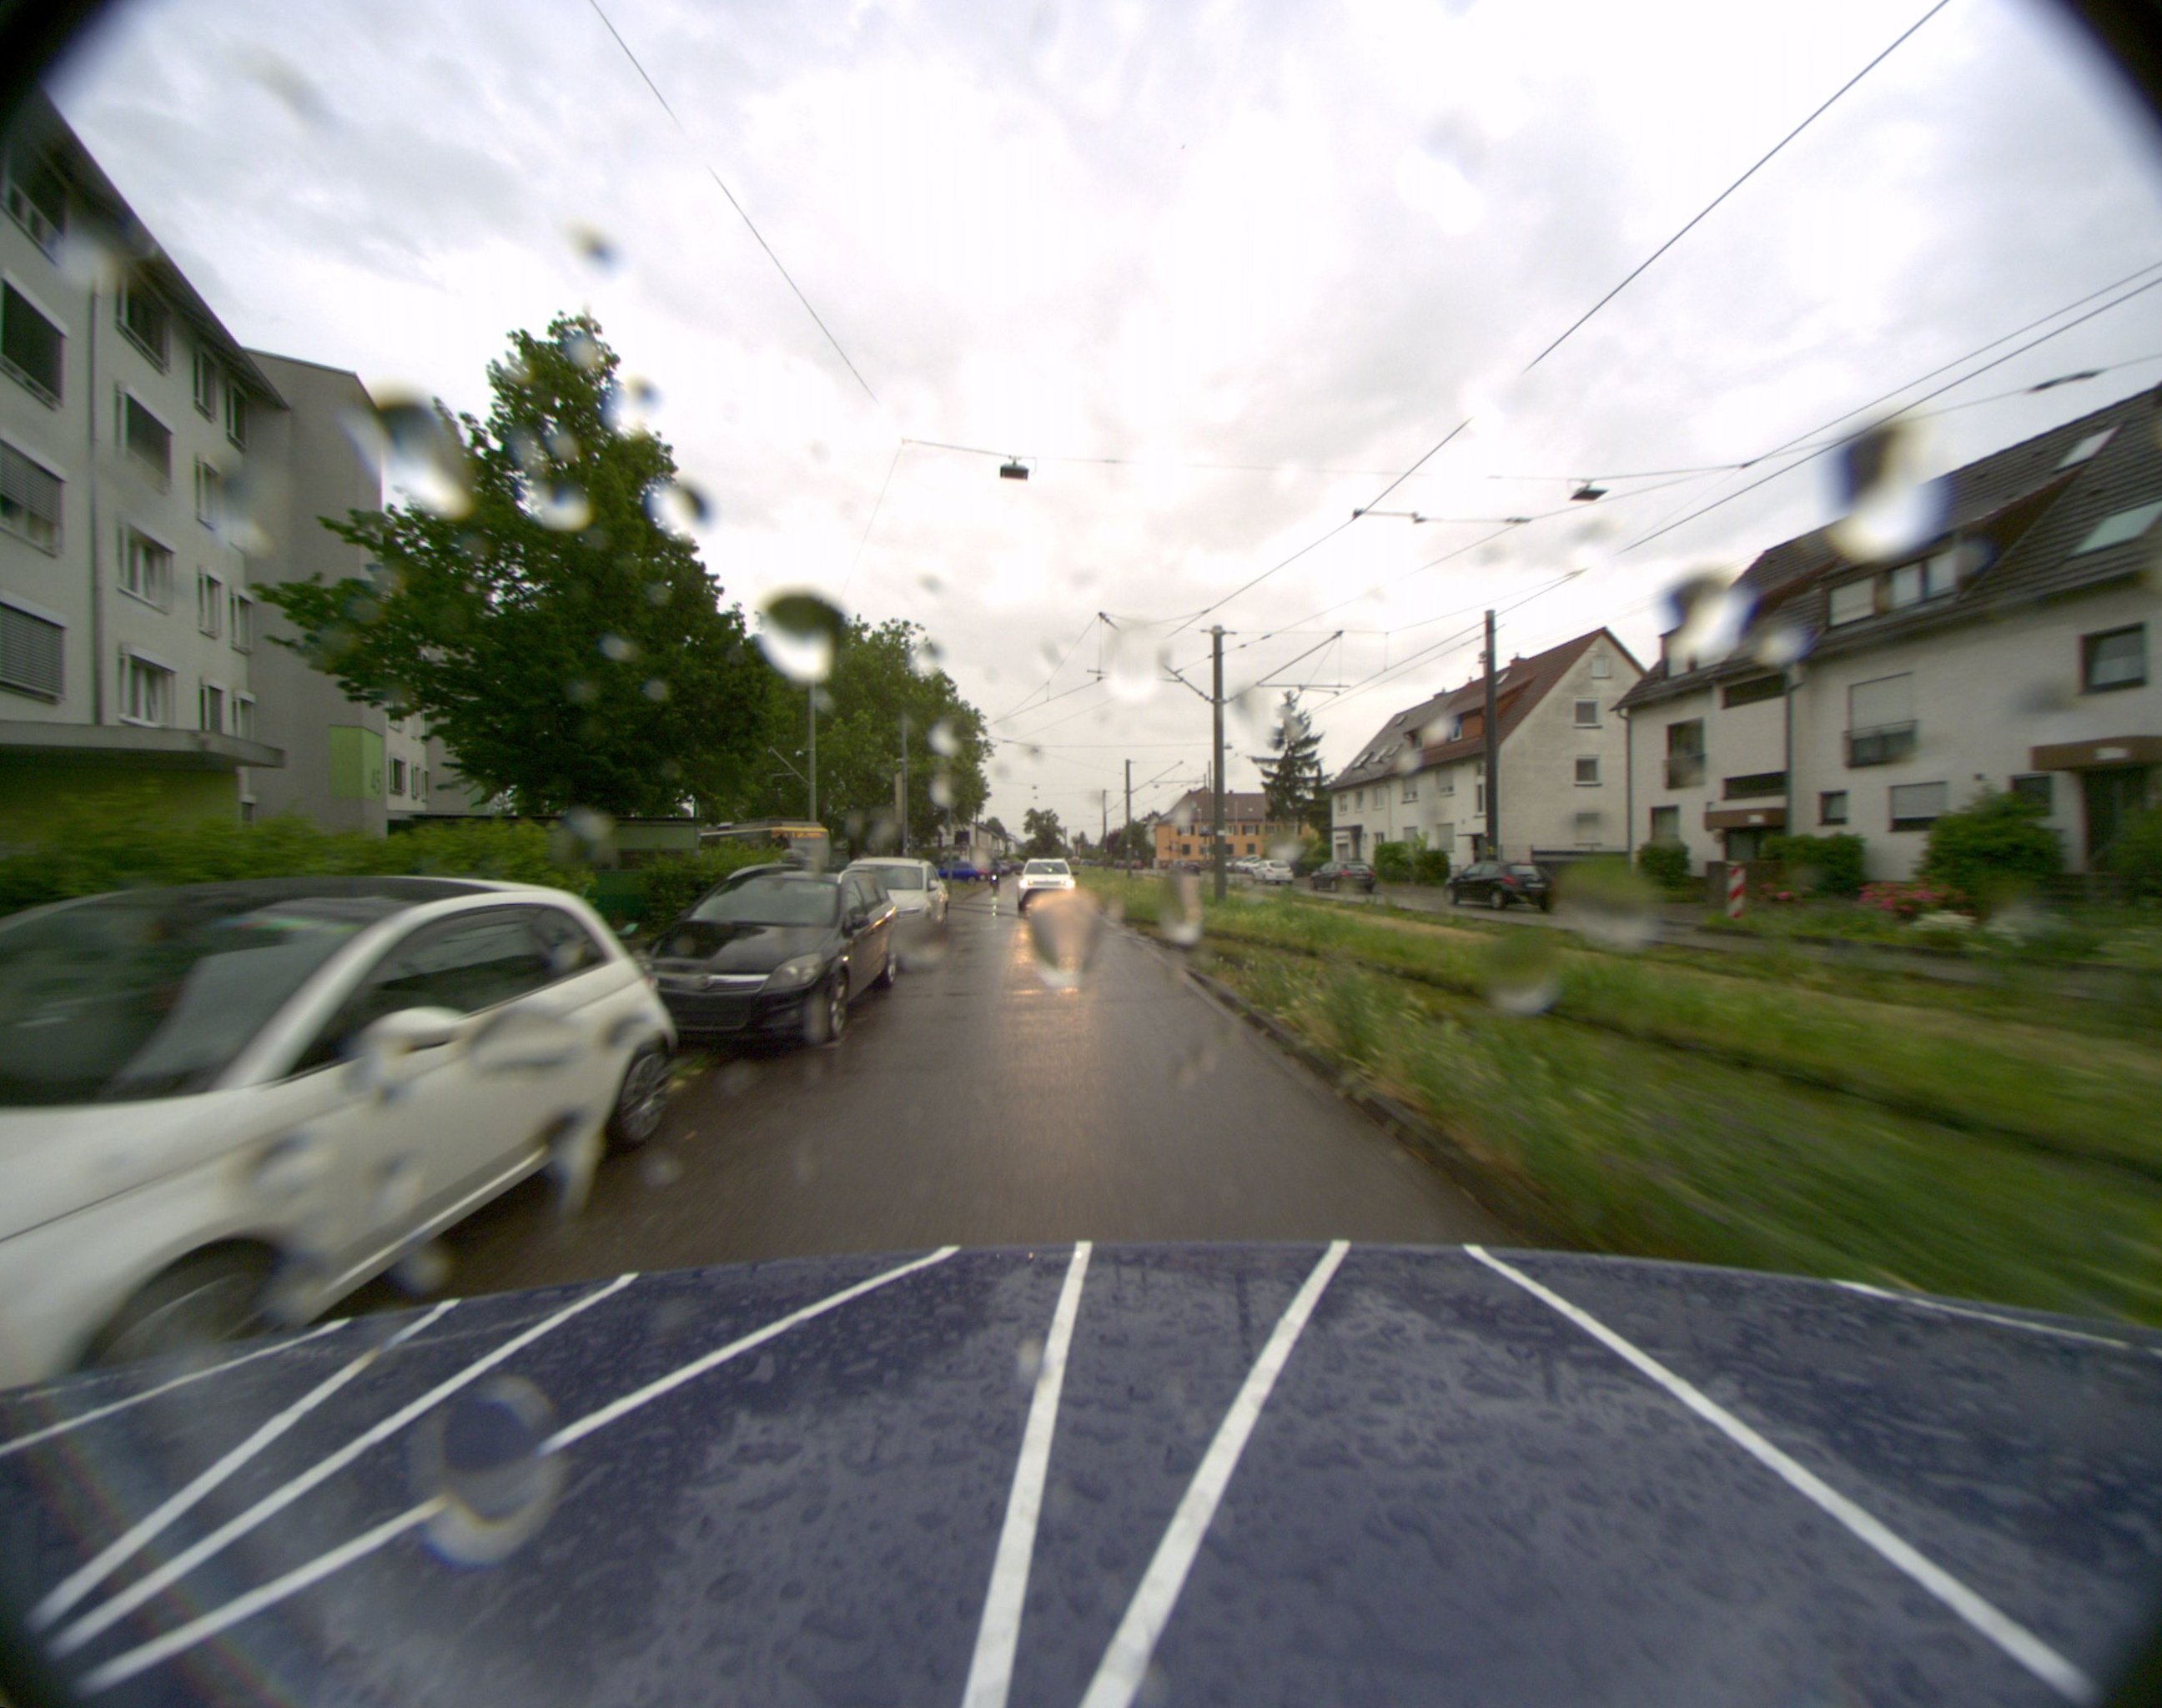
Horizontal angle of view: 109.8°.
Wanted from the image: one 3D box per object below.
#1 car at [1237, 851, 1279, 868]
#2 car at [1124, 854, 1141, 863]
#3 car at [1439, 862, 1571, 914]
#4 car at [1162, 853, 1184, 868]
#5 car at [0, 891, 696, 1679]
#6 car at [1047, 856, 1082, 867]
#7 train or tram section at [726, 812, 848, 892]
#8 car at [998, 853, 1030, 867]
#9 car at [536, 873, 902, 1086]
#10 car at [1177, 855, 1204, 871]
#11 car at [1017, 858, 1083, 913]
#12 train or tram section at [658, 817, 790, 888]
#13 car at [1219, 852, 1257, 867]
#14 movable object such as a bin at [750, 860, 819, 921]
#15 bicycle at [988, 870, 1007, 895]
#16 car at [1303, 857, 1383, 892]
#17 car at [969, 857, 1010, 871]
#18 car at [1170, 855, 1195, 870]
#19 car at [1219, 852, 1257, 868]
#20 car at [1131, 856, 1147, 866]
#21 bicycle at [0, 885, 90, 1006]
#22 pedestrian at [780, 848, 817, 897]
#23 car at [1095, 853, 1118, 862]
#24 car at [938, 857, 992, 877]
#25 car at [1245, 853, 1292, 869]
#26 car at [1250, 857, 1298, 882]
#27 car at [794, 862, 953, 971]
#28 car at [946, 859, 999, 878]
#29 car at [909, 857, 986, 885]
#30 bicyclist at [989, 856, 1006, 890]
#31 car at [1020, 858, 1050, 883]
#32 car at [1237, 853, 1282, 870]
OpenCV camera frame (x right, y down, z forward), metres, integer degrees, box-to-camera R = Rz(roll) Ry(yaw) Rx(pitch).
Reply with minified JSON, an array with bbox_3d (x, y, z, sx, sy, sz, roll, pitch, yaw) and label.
[{"bbox_3d":[18.153,0.562,78.176,3.995,1.586,1.914,-1,0,5],"label":"car"},{"bbox_3d":[8.219,0.712,121.424,2.097,1.423,4.076,0,0,-4],"label":"car"},{"bbox_3d":[12.929,0.994,23.473,1.777,1.417,3.936,1,0,-2],"label":"car"},{"bbox_3d":[10.653,0.697,88.535,1.999,1.648,3.999,-1,0,0],"label":"car"},{"bbox_3d":[-3.131,0.985,2.808,1.562,1.510,3.999,0,0,-3],"label":"car"},{"bbox_3d":[-2.204,1.054,104.034,4.268,1.423,2.111,0,0,24],"label":"car"},{"bbox_3d":[-13.548,-0.093,34.818,6.382,3.320,2.763,0,0,44],"label":"train or tram section"},{"bbox_3d":[-8.614,0.786,97.975,3.997,1.712,1.672,-1,1,1],"label":"car"},{"bbox_3d":[-3.120,0.962,7.640,1.905,1.440,4.182,0,0,-4],"label":"car"},{"bbox_3d":[10.766,0.878,74.946,1.912,1.581,3.999,0,0,-2],"label":"car"},{"bbox_3d":[-1.005,0.915,23.692,1.854,1.500,4.119,-1,0,-3],"label":"car"},{"bbox_3d":[-19.068,-0.085,40.136,10.321,3.320,2.763,0,0,44],"label":"train or tram section"},{"bbox_3d":[17.369,0.593,83.982,3.992,1.586,1.916,-1,0,17],"label":"car"},{"bbox_3d":[-7.354,0.872,18.811,1.155,1.432,1.472,0,0,-41],"label":"movable object such as a bin"},{"bbox_3d":[-3.732,1.261,34.052,0.711,1.031,2.098,0,0,-3],"label":"bicycle"},{"bbox_3d":[12.321,0.941,36.092,1.892,1.522,4.755,1,0,-3],"label":"car"},{"bbox_3d":[-9.028,0.974,75.060,3.713,1.408,1.615,0,0,-28],"label":"car"},{"bbox_3d":[10.610,0.896,79.624,1.882,1.520,3.999,0,0,-2],"label":"car"},{"bbox_3d":[16.817,0.619,81.467,3.993,1.586,1.915,-1,0,11],"label":"car"},{"bbox_3d":[8.607,1.012,112.714,1.886,1.423,4.076,0,0,-4],"label":"car"},{"bbox_3d":[-11.000,0.893,7.222,1.864,1.135,0.532,-1,0,-27],"label":"bicycle"},{"bbox_3d":[-10.364,0.656,27.847,1.016,1.764,0.867,1,1,40],"label":"pedestrian"},{"bbox_3d":[4.658,0.614,140.214,3.999,1.637,1.893,1,0,-6],"label":"car"},{"bbox_3d":[-8.465,0.938,55.584,3.583,1.451,1.615,0,0,-29],"label":"car"},{"bbox_3d":[17.979,0.687,72.858,3.997,1.455,1.913,-1,0,-1],"label":"car"},{"bbox_3d":[11.936,0.933,47.265,1.715,1.432,3.999,1,0,-3],"label":"car"},{"bbox_3d":[-3.409,0.939,13.310,1.905,1.565,4.110,0,0,-4],"label":"car"},{"bbox_3d":[-8.402,1.094,59.000,3.713,1.475,1.615,0,0,-28],"label":"car"},{"bbox_3d":[-7.616,0.962,43.635,4.007,1.518,1.715,0,0,-35],"label":"car"},{"bbox_3d":[-3.730,0.840,34.076,0.711,1.503,0.715,0,0,-3],"label":"bicyclist"},{"bbox_3d":[-2.996,1.049,49.404,1.854,1.500,4.119,0,0,-3],"label":"car"},{"bbox_3d":[17.632,0.757,75.282,3.997,1.586,1.913,-1,0,-1],"label":"car"}]
